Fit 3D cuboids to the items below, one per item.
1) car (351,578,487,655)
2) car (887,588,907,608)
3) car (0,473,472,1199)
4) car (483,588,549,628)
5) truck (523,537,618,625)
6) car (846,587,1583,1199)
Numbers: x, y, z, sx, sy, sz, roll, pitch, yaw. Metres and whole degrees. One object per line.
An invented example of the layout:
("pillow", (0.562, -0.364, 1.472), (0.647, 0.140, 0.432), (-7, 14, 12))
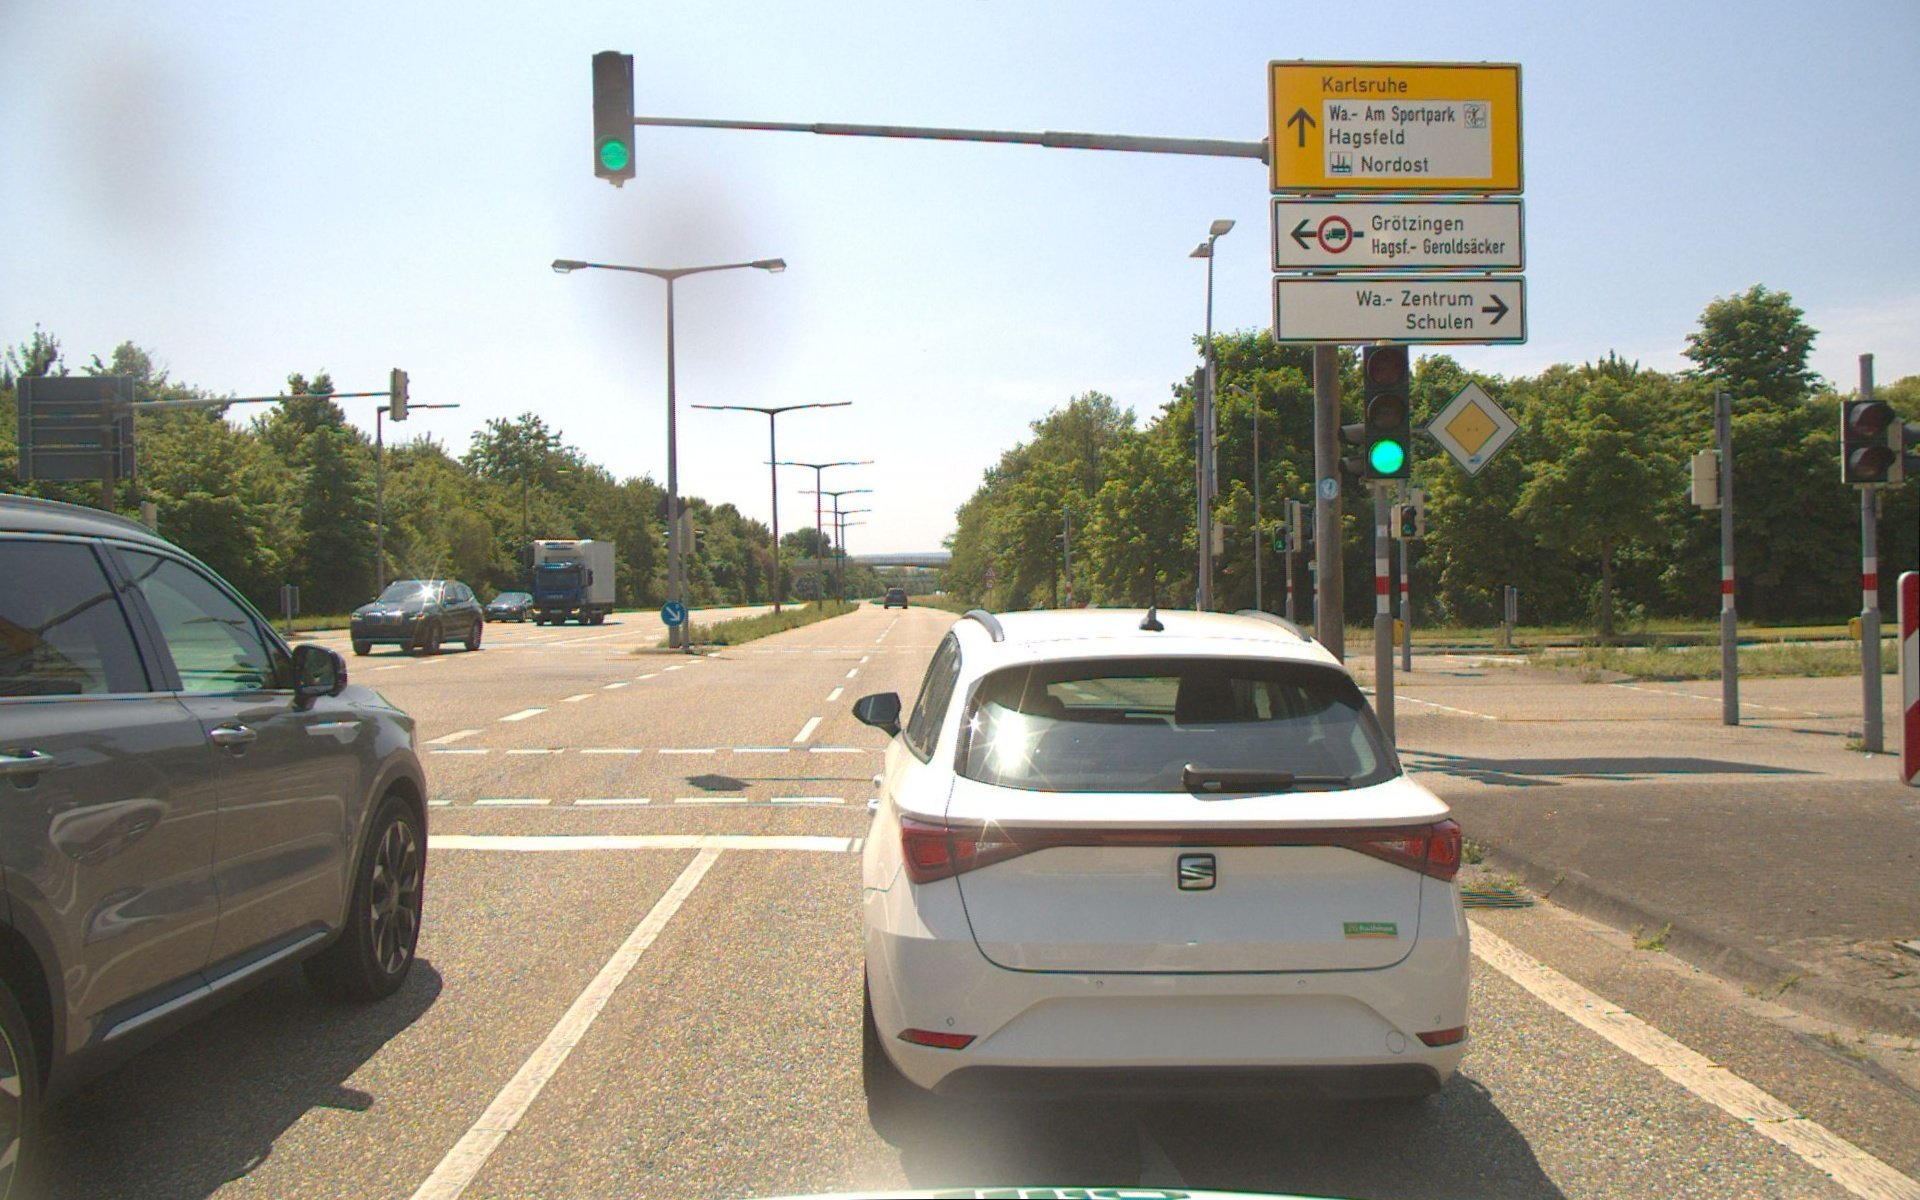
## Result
("car", (-12.682, 0.343, 39.029), (1.671, 1.692, 4.224), (-1, 0, 2))
("car", (-5.706, -0.163, 150.032), (1.817, 1.738, 3.999), (-1, 0, -2))
("car", (-2.867, 0.590, 4.484), (1.767, 1.691, 4.643), (-1, 0, -1))
("car", (-20.694, 0.336, 77.231), (1.785, 1.762, 4.925), (-1, 0, -1))
("truck", (-17.008, -0.826, 72.665), (2.633, 3.633, 7.265), (0, 0, -2))
("car", (0.567, 0.723, 5.686), (1.699, 1.453, 3.693), (1, 0, -1))
